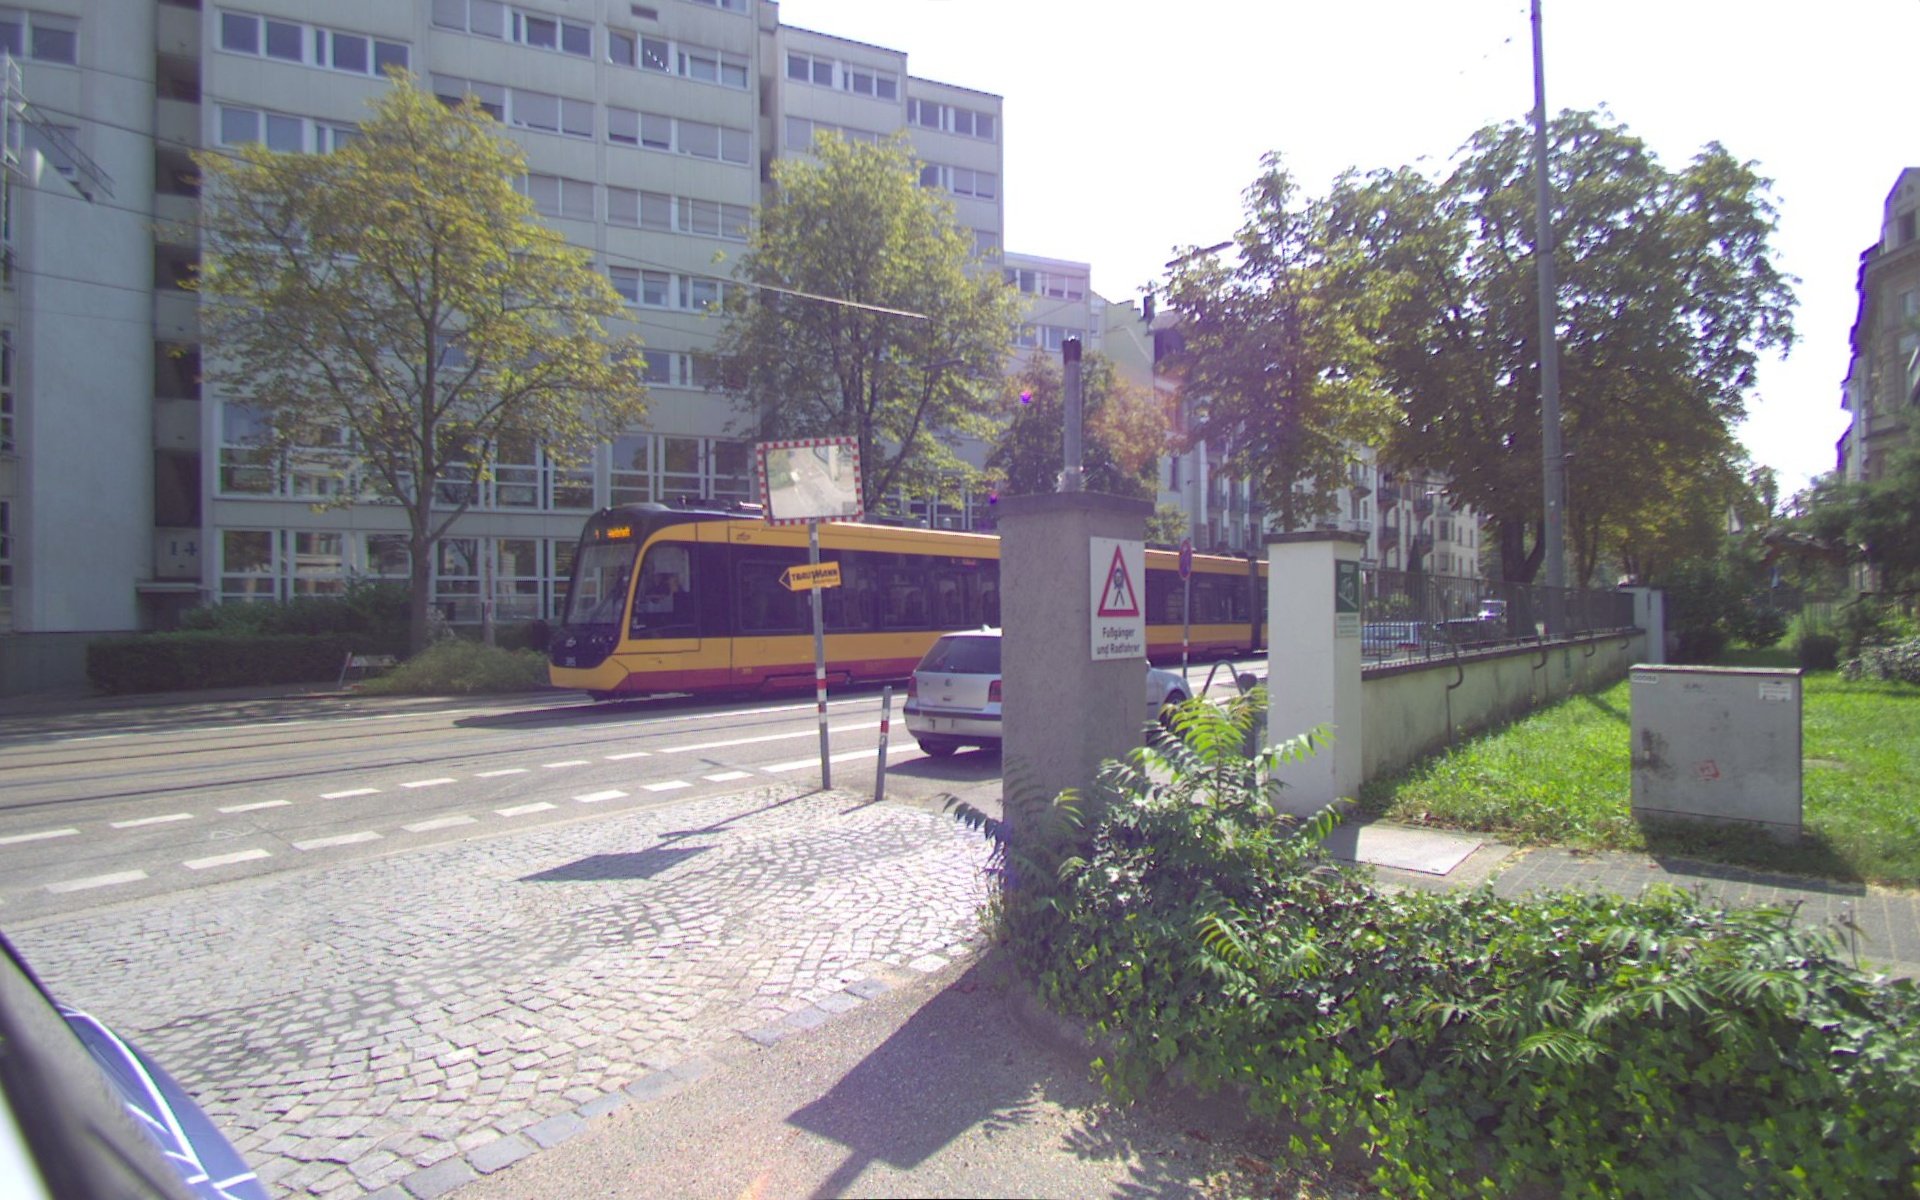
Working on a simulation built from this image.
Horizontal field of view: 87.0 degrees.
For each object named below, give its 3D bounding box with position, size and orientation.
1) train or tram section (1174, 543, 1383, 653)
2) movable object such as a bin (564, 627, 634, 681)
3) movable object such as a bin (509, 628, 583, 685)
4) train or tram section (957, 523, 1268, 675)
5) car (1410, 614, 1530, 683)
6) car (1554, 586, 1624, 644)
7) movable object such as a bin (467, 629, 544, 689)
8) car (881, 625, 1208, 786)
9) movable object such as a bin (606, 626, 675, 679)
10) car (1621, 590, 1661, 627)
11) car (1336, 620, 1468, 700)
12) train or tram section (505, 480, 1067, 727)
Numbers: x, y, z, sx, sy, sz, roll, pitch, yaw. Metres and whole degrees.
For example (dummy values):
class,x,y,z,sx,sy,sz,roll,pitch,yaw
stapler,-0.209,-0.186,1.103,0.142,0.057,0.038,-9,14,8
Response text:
class,x,y,z,sx,sy,sz,roll,pitch,yaw
train or tram section,12.990,-0.072,40.107,3.505,3.732,12.247,-1,0,40
movable object such as a bin,-10.954,1.626,30.695,1.686,1.571,1.336,-2,-2,39
movable object such as a bin,-12.003,1.618,29.361,1.686,1.571,1.336,-2,-2,39
train or tram section,5.172,-0.036,30.658,3.505,3.732,12.247,-1,0,40
car,13.232,1.201,26.153,1.799,1.589,3.945,-2,-1,42
car,27.051,0.631,43.464,1.999,2.383,3.946,-1,-1,40
movable object such as a bin,-12.561,1.600,27.974,1.686,1.571,1.336,-2,-2,39
car,1.077,1.062,11.482,1.797,1.457,3.680,-3,-2,42
movable object such as a bin,-10.031,1.629,31.762,1.686,1.571,1.336,-2,-2,39
car,43.245,0.538,64.222,1.995,2.250,3.952,-2,-1,35
car,9.543,1.216,21.712,1.645,1.523,3.592,-1,-1,40
train or tram section,-2.650,0.039,21.176,3.505,3.732,12.247,-1,0,40
